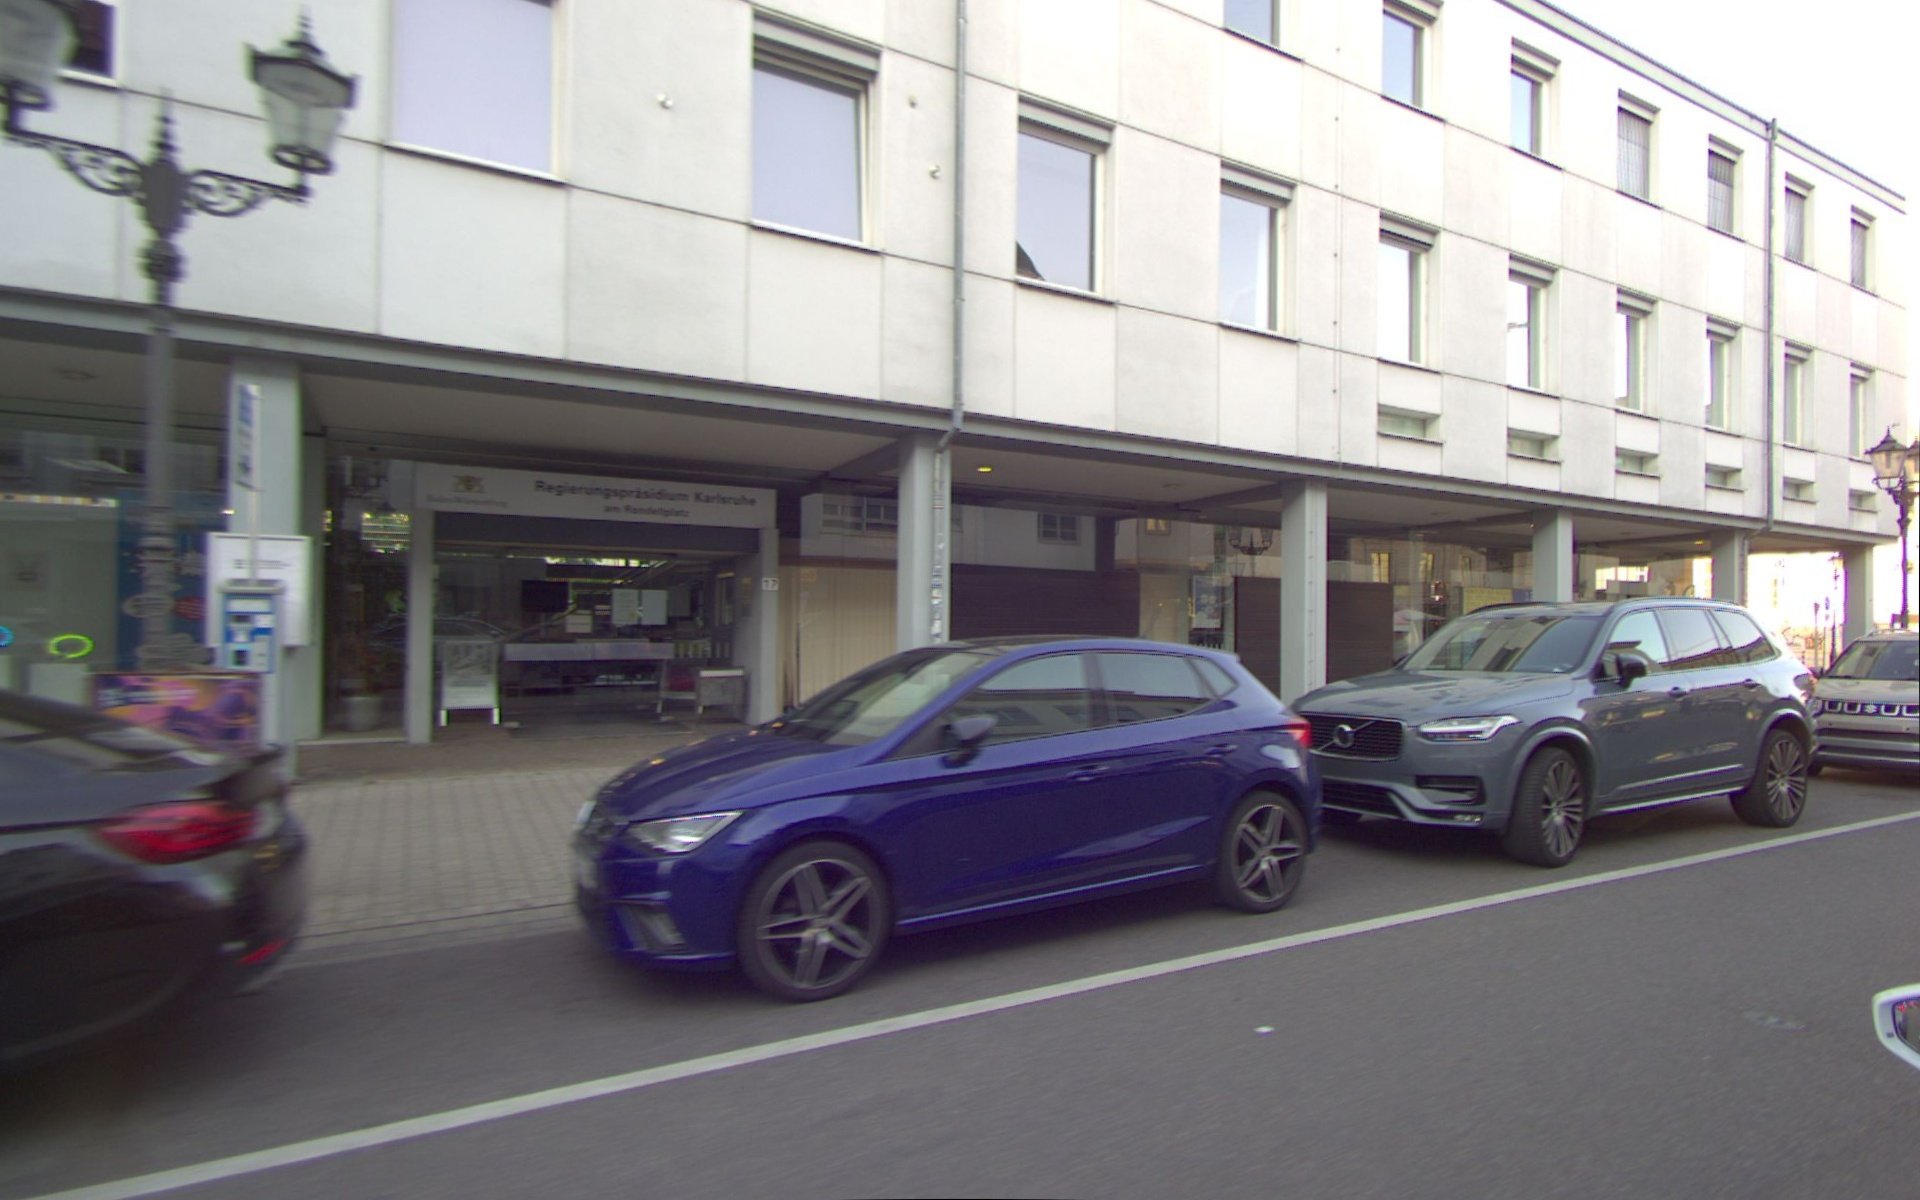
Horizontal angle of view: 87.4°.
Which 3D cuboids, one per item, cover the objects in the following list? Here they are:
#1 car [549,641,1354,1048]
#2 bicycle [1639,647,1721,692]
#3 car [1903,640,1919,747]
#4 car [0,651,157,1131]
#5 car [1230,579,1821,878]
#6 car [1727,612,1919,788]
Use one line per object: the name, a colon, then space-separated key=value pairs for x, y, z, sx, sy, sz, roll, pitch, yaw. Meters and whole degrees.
car: x=0.066 y=0.935 z=5.293 sx=3.953 sy=1.418 sz=1.665 roll=1 pitch=-2 yaw=-30
bicycle: x=17.111 y=1.626 z=23.855 sx=2.308 sy=0.996 sz=0.729 roll=1 pitch=-1 yaw=-31
car: x=14.441 y=1.246 z=13.452 sx=4.059 sy=1.371 sz=1.669 roll=1 pitch=-1 yaw=-32
car: x=-4.840 y=0.832 z=2.619 sx=3.951 sy=1.372 sz=1.985 roll=1 pitch=-3 yaw=-29
car: x=4.472 y=0.829 z=7.855 sx=4.460 sy=1.751 sz=1.985 roll=1 pitch=-2 yaw=-29
car: x=10.583 y=1.020 z=11.183 sx=3.956 sy=1.683 sz=1.983 roll=1 pitch=-3 yaw=-32
